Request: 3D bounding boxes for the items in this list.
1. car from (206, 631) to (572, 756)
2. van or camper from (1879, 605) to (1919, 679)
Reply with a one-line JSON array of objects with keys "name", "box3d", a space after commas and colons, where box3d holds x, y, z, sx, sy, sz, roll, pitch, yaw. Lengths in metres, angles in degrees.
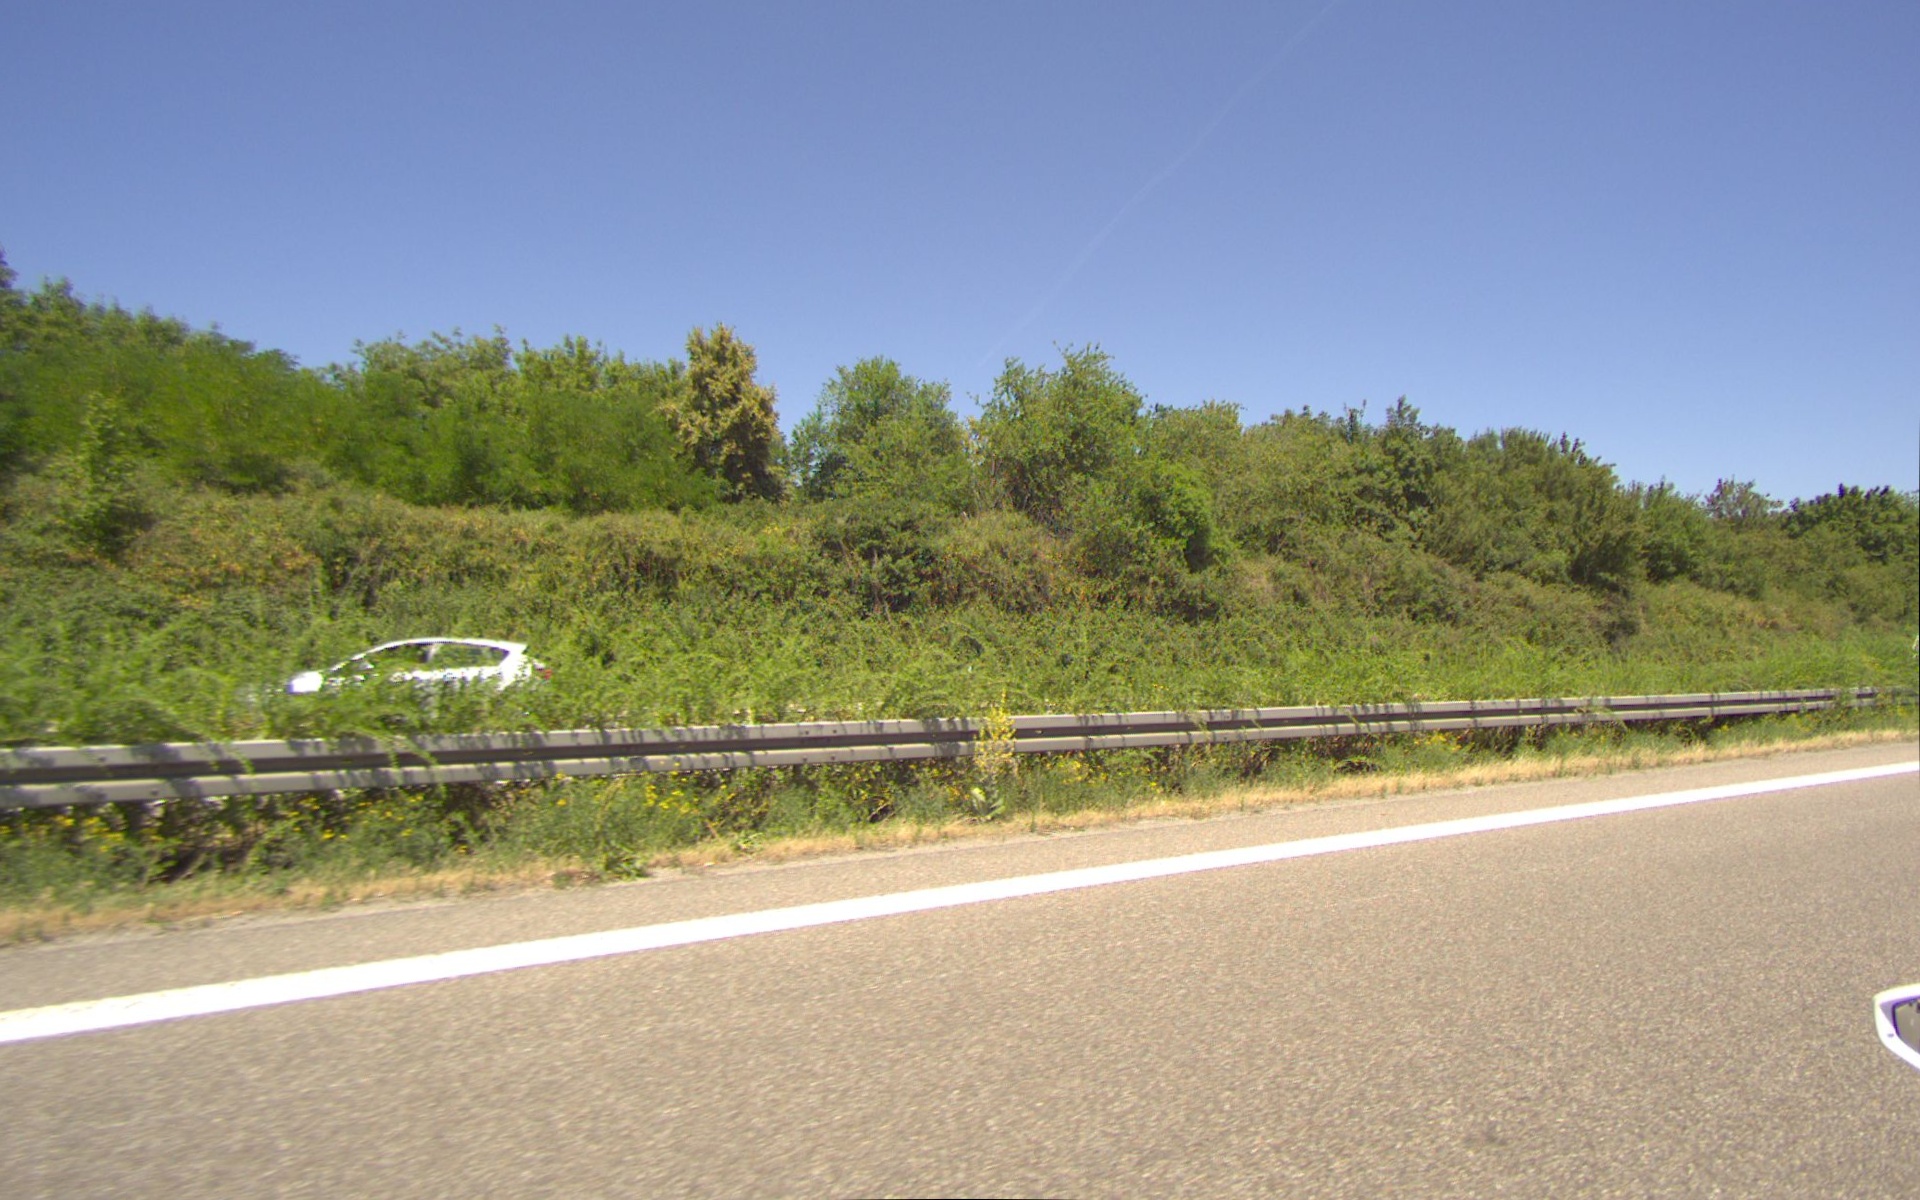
[{"name": "car", "box3d": [-8.232, 1.299, 14.846, 4.397, 1.528, 1.931, 2, 0, -30]}, {"name": "van or camper", "box3d": [33.840, 1.464, 33.901, 6.263, 2.397, 2.413, 2, 0, -30]}]
